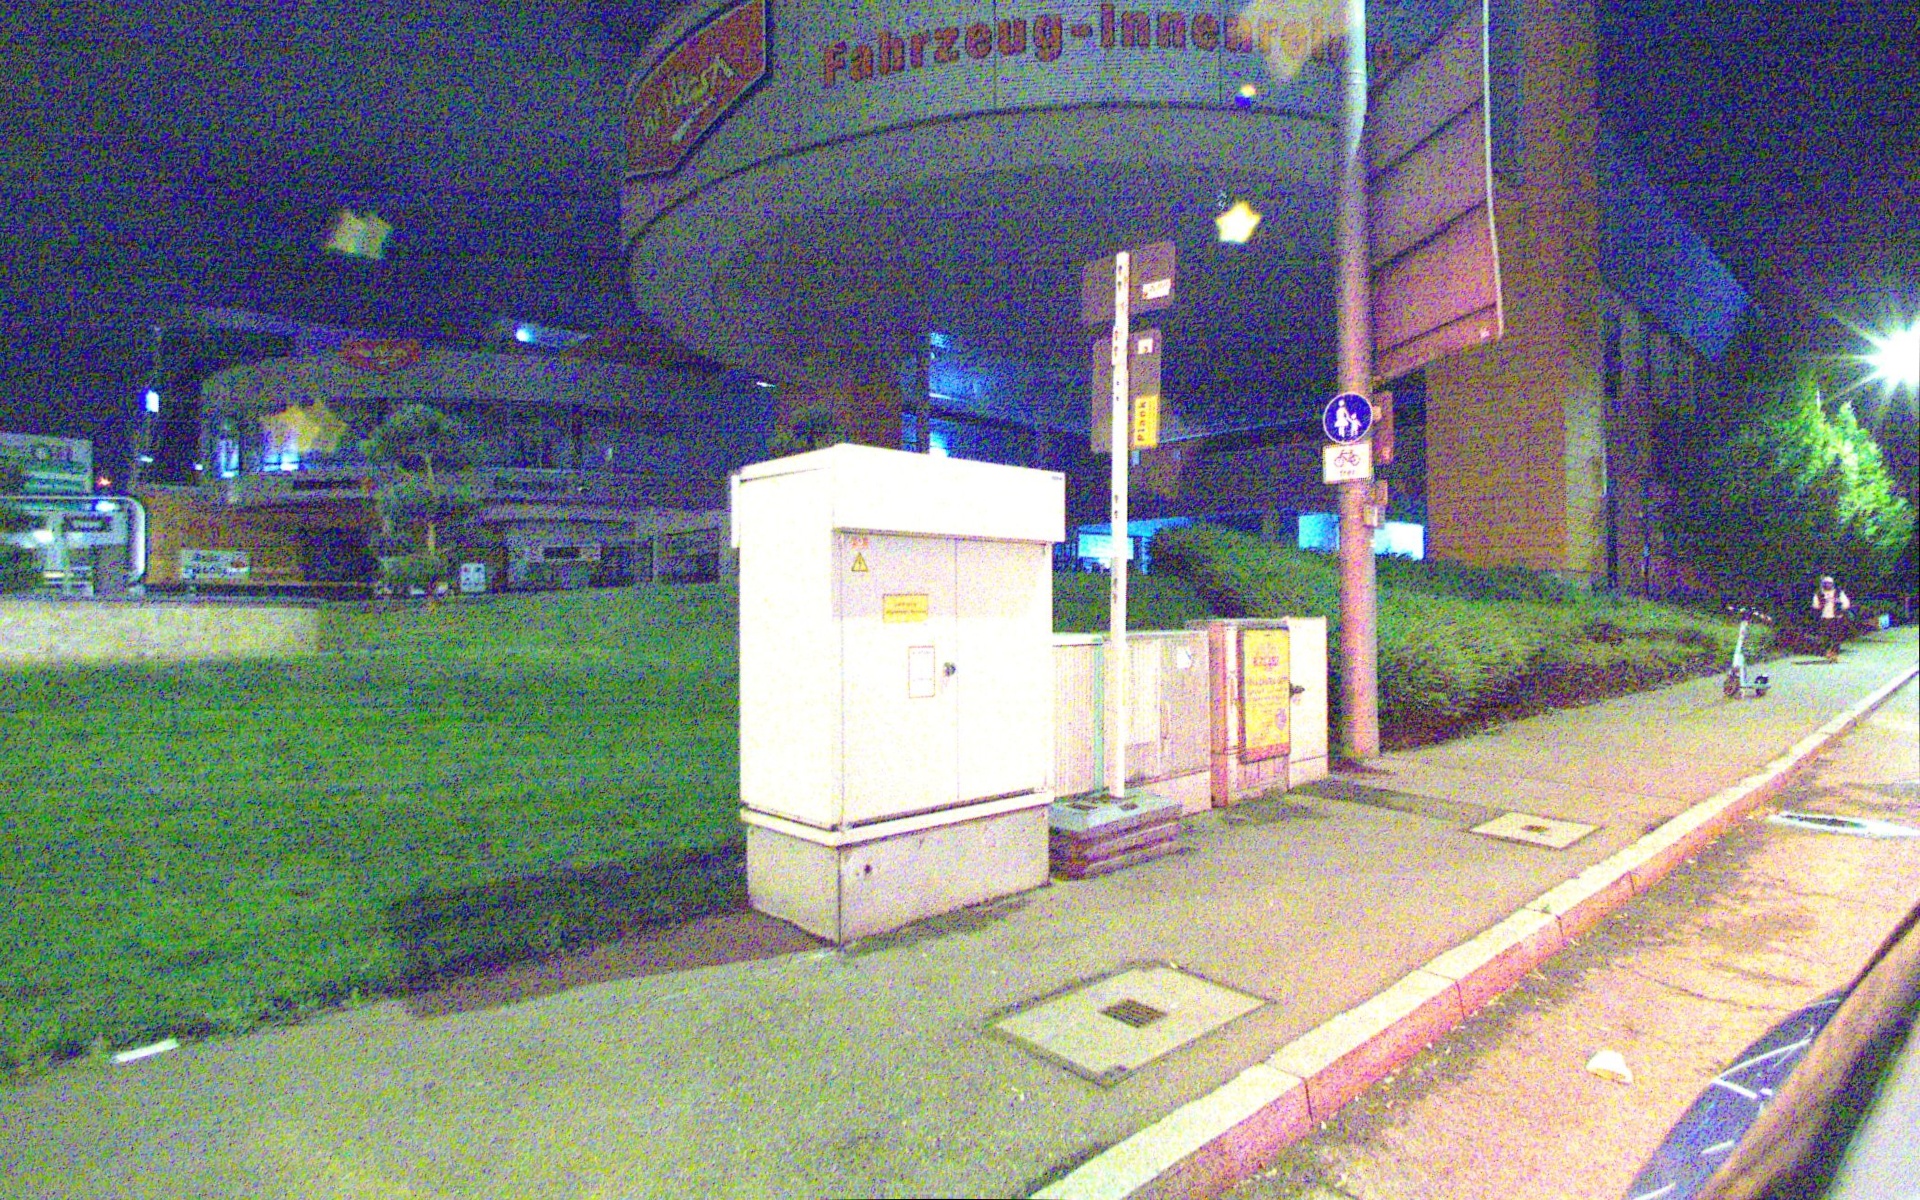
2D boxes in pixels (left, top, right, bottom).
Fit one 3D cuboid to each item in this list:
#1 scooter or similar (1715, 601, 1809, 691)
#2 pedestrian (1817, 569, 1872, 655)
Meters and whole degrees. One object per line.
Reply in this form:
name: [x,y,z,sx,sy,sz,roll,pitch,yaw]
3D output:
scooter or similar: [11.056,0.626,13.954,1.111,1.217,0.470,1,-1,-17]
pedestrian: [20.180,0.258,23.084,1.016,1.888,0.819,0,0,-41]
